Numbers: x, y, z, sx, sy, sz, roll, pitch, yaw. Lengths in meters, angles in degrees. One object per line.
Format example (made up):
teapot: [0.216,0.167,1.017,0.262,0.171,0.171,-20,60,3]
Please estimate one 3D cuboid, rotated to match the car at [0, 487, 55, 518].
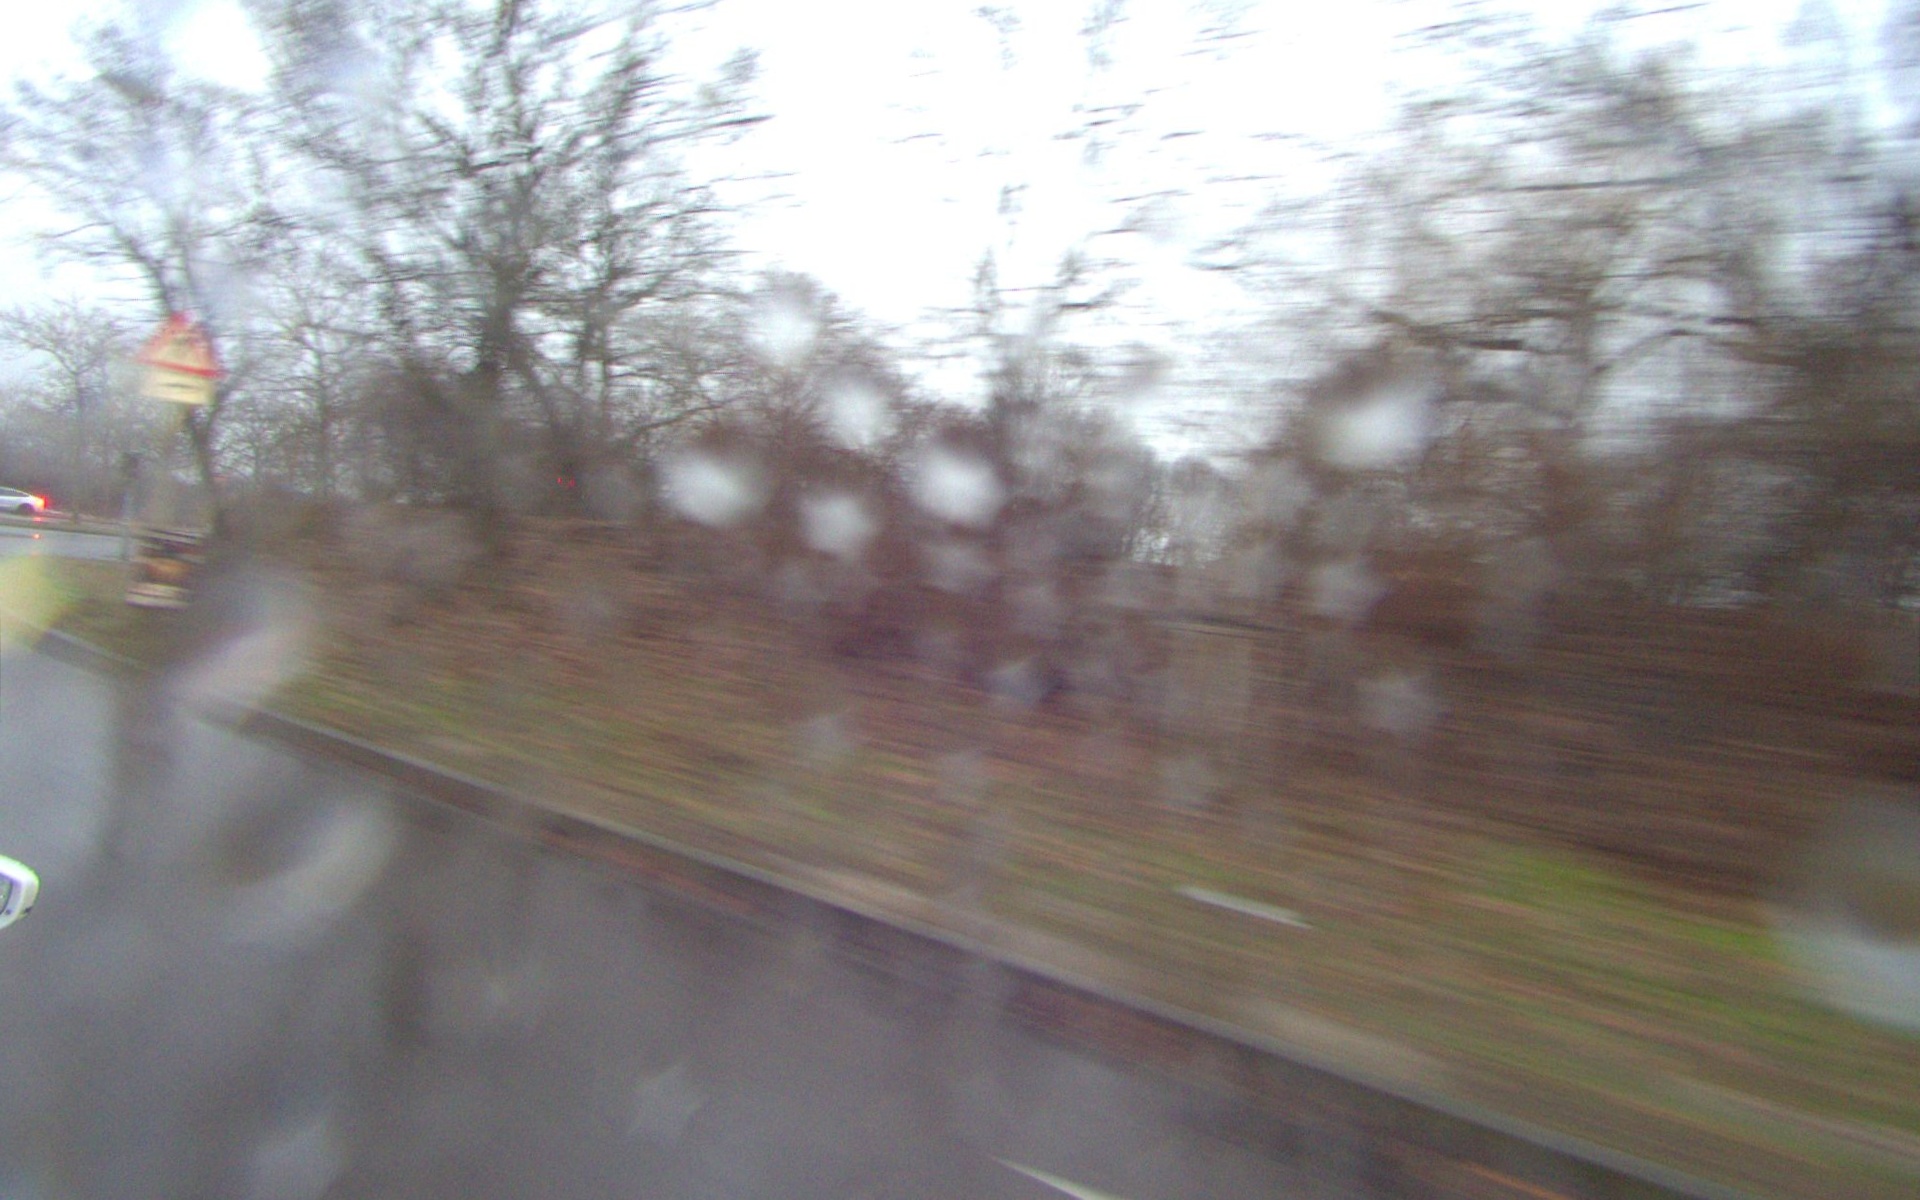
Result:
car: [-54.429,-5.727,56.669,1.852,1.392,4.745,7,-1,33]
